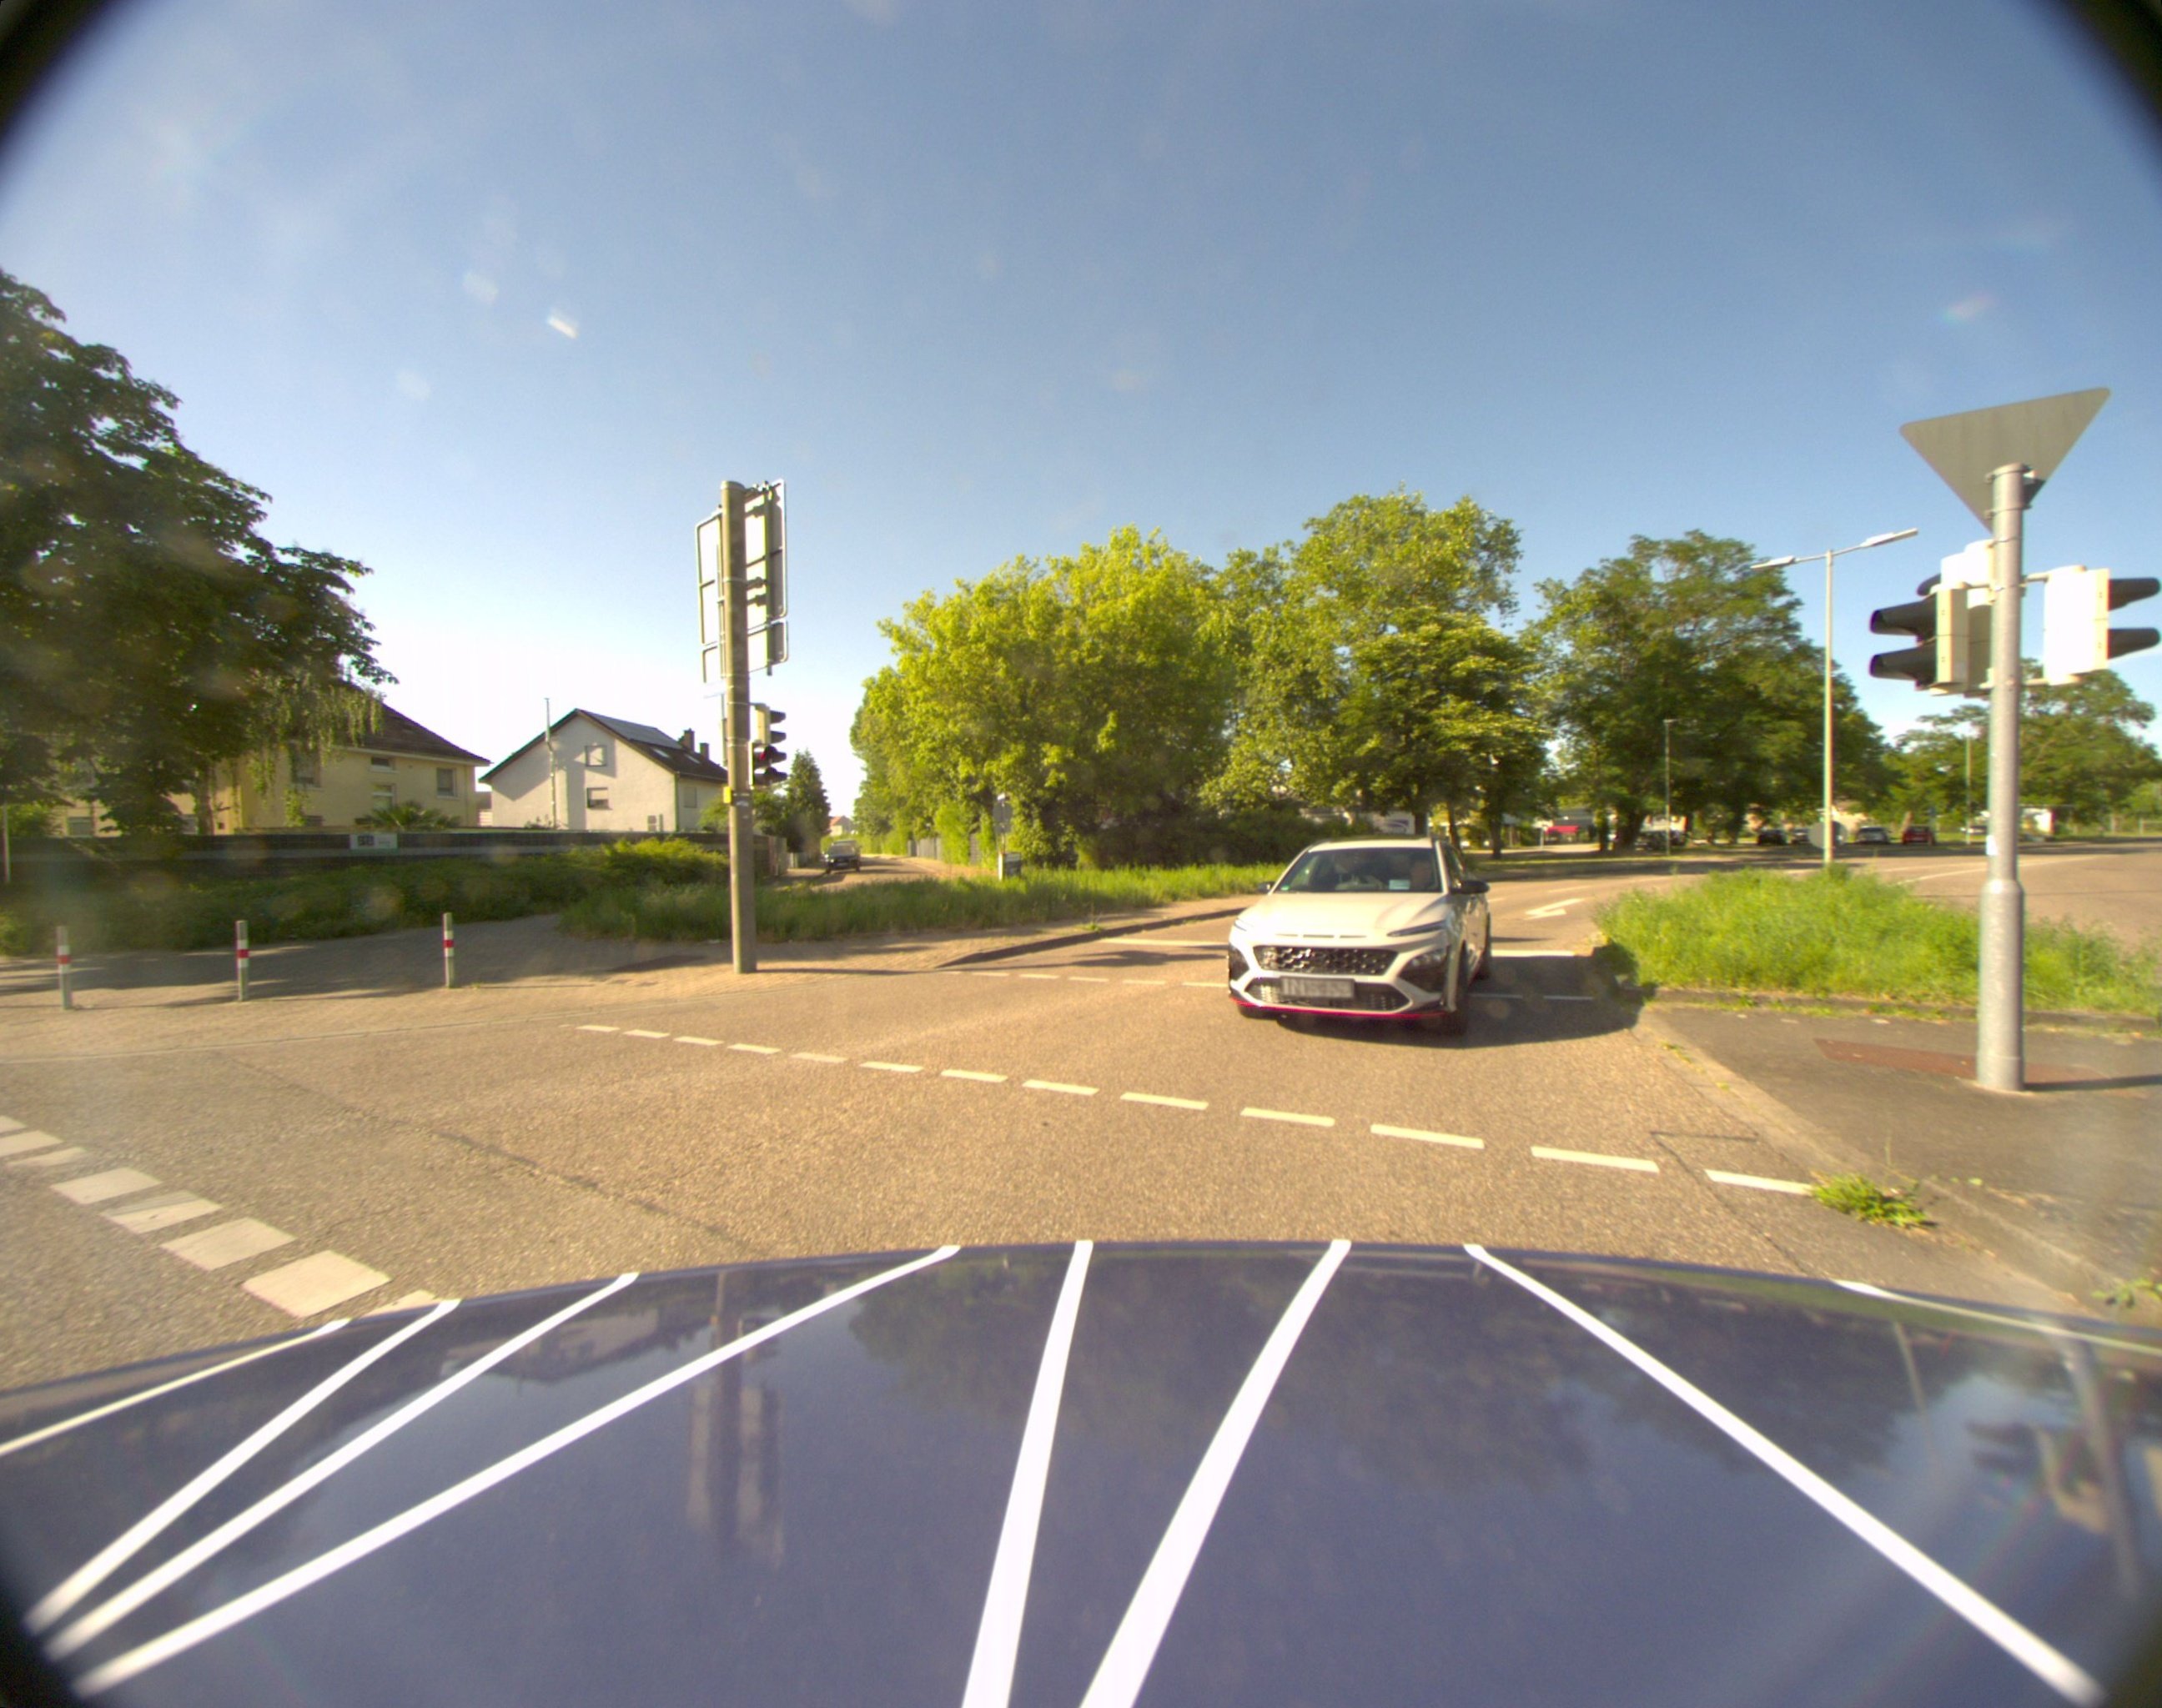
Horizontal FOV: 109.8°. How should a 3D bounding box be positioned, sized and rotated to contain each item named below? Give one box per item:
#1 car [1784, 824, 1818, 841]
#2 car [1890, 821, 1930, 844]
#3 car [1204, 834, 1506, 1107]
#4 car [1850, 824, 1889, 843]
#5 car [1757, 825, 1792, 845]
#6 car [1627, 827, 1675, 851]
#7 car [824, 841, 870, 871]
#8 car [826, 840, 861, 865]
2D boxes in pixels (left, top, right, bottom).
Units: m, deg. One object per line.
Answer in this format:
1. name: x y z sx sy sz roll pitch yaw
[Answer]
1. car: 63.574 -1.911 67.064 3.490 1.432 1.867 -3 4 -42
2. car: 63.366 -1.687 58.076 4.007 1.657 1.994 -3 4 -42
3. car: 2.779 0.706 7.006 1.711 1.637 4.061 0 3 33
4. car: 62.508 -1.653 60.221 4.007 1.442 1.994 -3 4 -42
5. car: 58.168 -1.639 63.740 4.007 1.610 1.732 -3 4 -42
6. car: 44.473 -1.190 59.260 4.007 1.786 2.004 -3 2 -38
7. car: -12.949 0.076 42.246 2.000 1.547 3.995 -2 1 -12
8. car: -17.040 -0.129 54.637 1.964 1.657 3.995 -1 1 -12
